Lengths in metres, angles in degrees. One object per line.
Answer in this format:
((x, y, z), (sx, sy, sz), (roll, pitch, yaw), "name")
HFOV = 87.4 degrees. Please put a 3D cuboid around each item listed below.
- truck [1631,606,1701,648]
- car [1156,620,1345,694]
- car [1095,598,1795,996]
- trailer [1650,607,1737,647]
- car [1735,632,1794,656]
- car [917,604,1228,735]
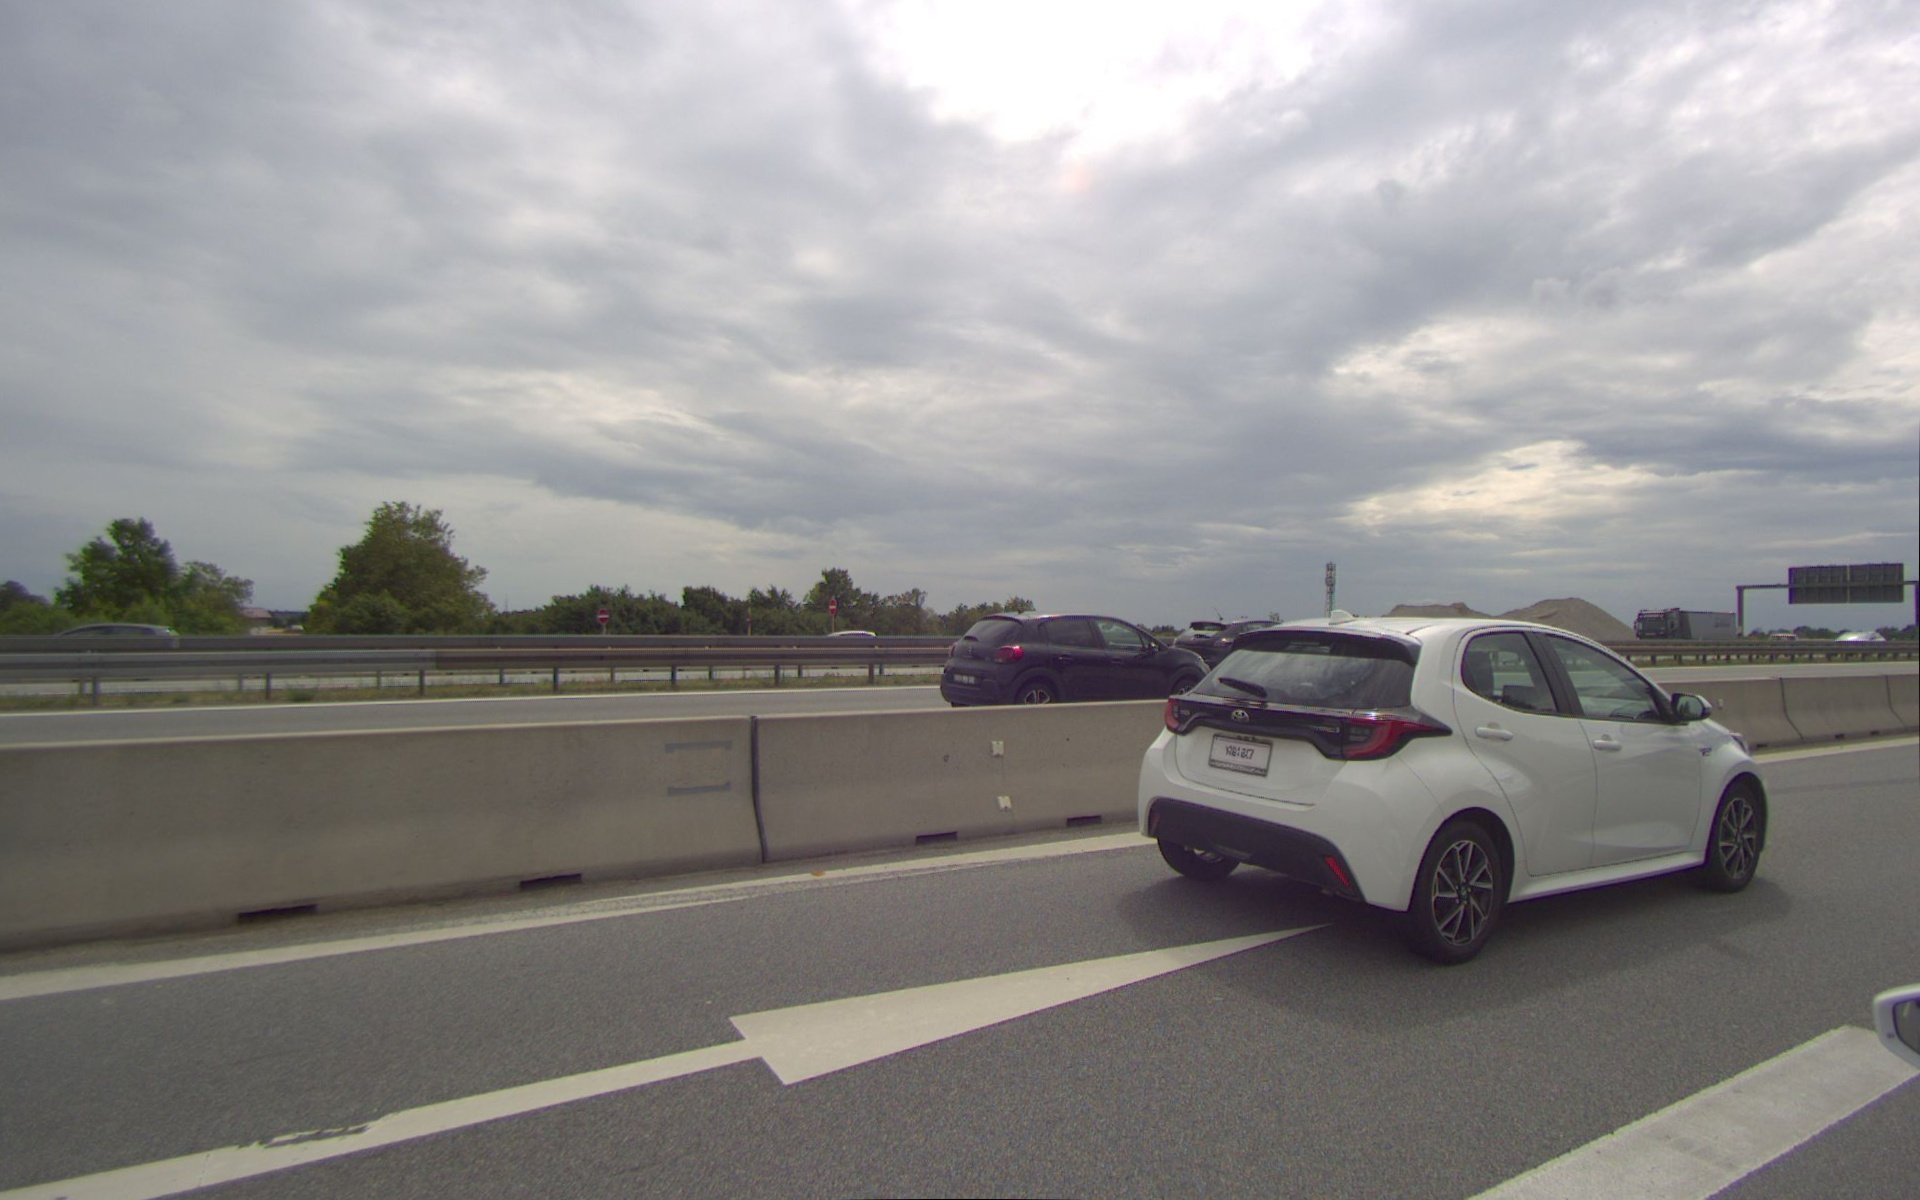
((59.477, 2.290, 84.602), (5.565, 3.374, 3.130), (1, 0, -34), "truck")
((6.122, 1.154, 21.067), (3.954, 1.394, 1.545), (1, 0, -31), "car")
((2.774, 0.800, 5.571), (3.796, 1.528, 1.693), (1, -1, -31), "car")
((64.425, 2.402, 88.105), (9.726, 3.313, 3.176), (1, -1, -35), "trailer")
((50.073, 2.718, 62.485), (3.961, 1.488, 1.677), (1, -2, -33), "car")
((1.567, 0.869, 13.646), (3.954, 1.550, 1.765), (1, -1, -31), "car")
